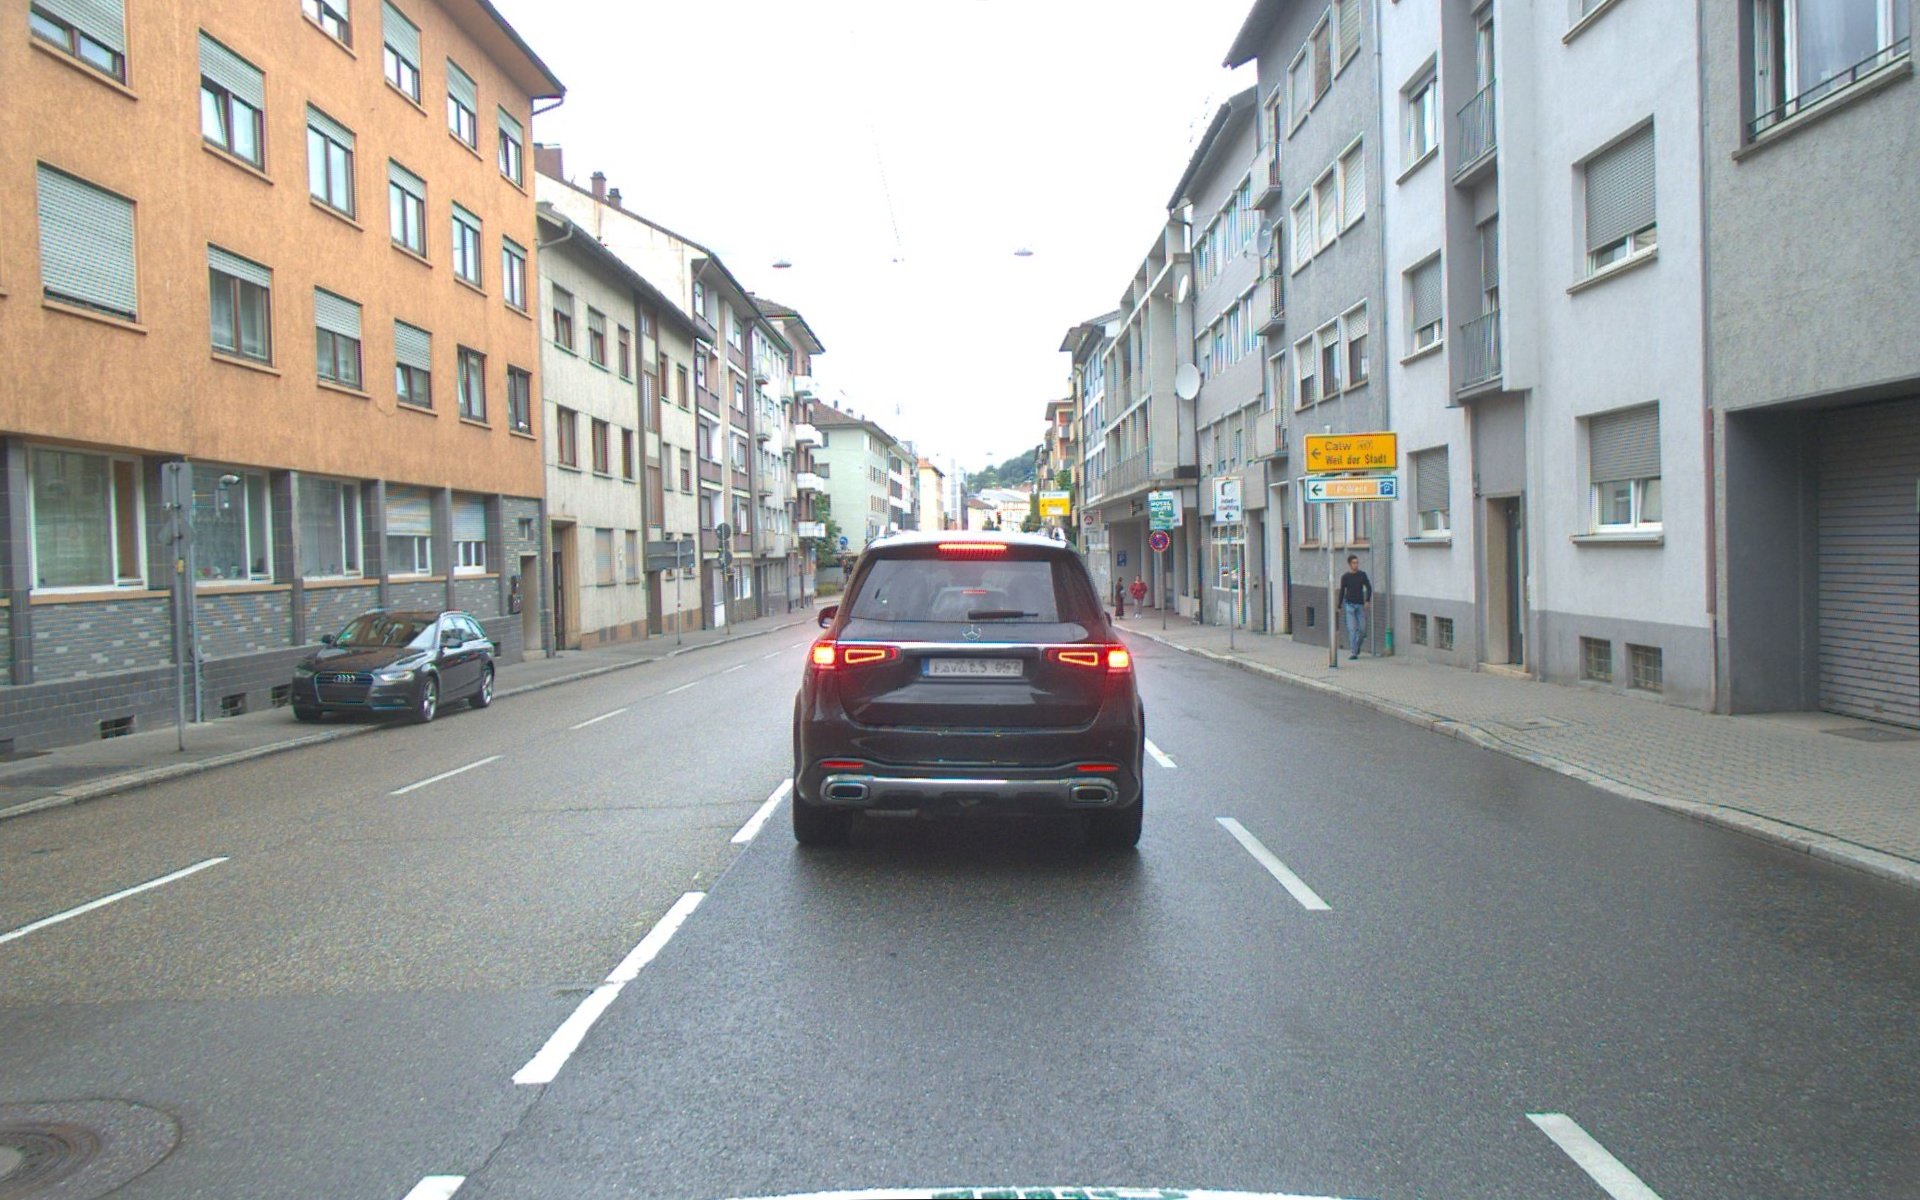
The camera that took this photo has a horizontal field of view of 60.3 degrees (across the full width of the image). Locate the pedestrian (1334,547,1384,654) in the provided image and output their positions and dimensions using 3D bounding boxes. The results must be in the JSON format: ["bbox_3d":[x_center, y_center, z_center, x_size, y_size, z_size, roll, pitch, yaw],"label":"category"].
[{"bbox_3d":[6.870,0.005,28.519,0.642,1.782,0.742,-4,1,5],"label":"pedestrian"}]

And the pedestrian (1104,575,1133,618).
[{"bbox_3d":[6.011,-0.147,62.746,0.809,1.592,0.893,-1,1,-22],"label":"pedestrian"}]

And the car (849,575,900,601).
[{"bbox_3d":[-6.917,-0.995,134.316,3.903,2.049,2.001,0,1,3],"label":"car"}]

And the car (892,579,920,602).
[{"bbox_3d":[-3.723,-0.673,115.322,1.853,1.484,4.549,0,1,-1],"label":"car"}]

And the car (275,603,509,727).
[{"bbox_3d":[-7.954,0.848,23.631,1.853,1.484,4.548,0,1,-2],"label":"car"}]

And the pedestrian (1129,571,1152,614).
[{"bbox_3d":[6.846,-0.297,62.724,0.803,1.592,0.900,0,1,3],"label":"pedestrian"}]

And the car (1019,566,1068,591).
[{"bbox_3d":[6.805,-1.746,134.755,3.903,2.049,2.001,0,1,3],"label":"car"}]

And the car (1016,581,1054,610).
[{"bbox_3d":[3.902,-0.241,86.676,1.699,1.412,4.582,0,1,-1],"label":"car"}]

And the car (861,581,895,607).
[{"bbox_3d":[-4.790,-0.371,97.018,1.853,1.484,4.548,0,1,-2],"label":"car"}]

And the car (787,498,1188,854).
[{"bbox_3d":[0.110,0.328,10.718,2.034,1.796,4.611,0,1,-1],"label":"car"}]
